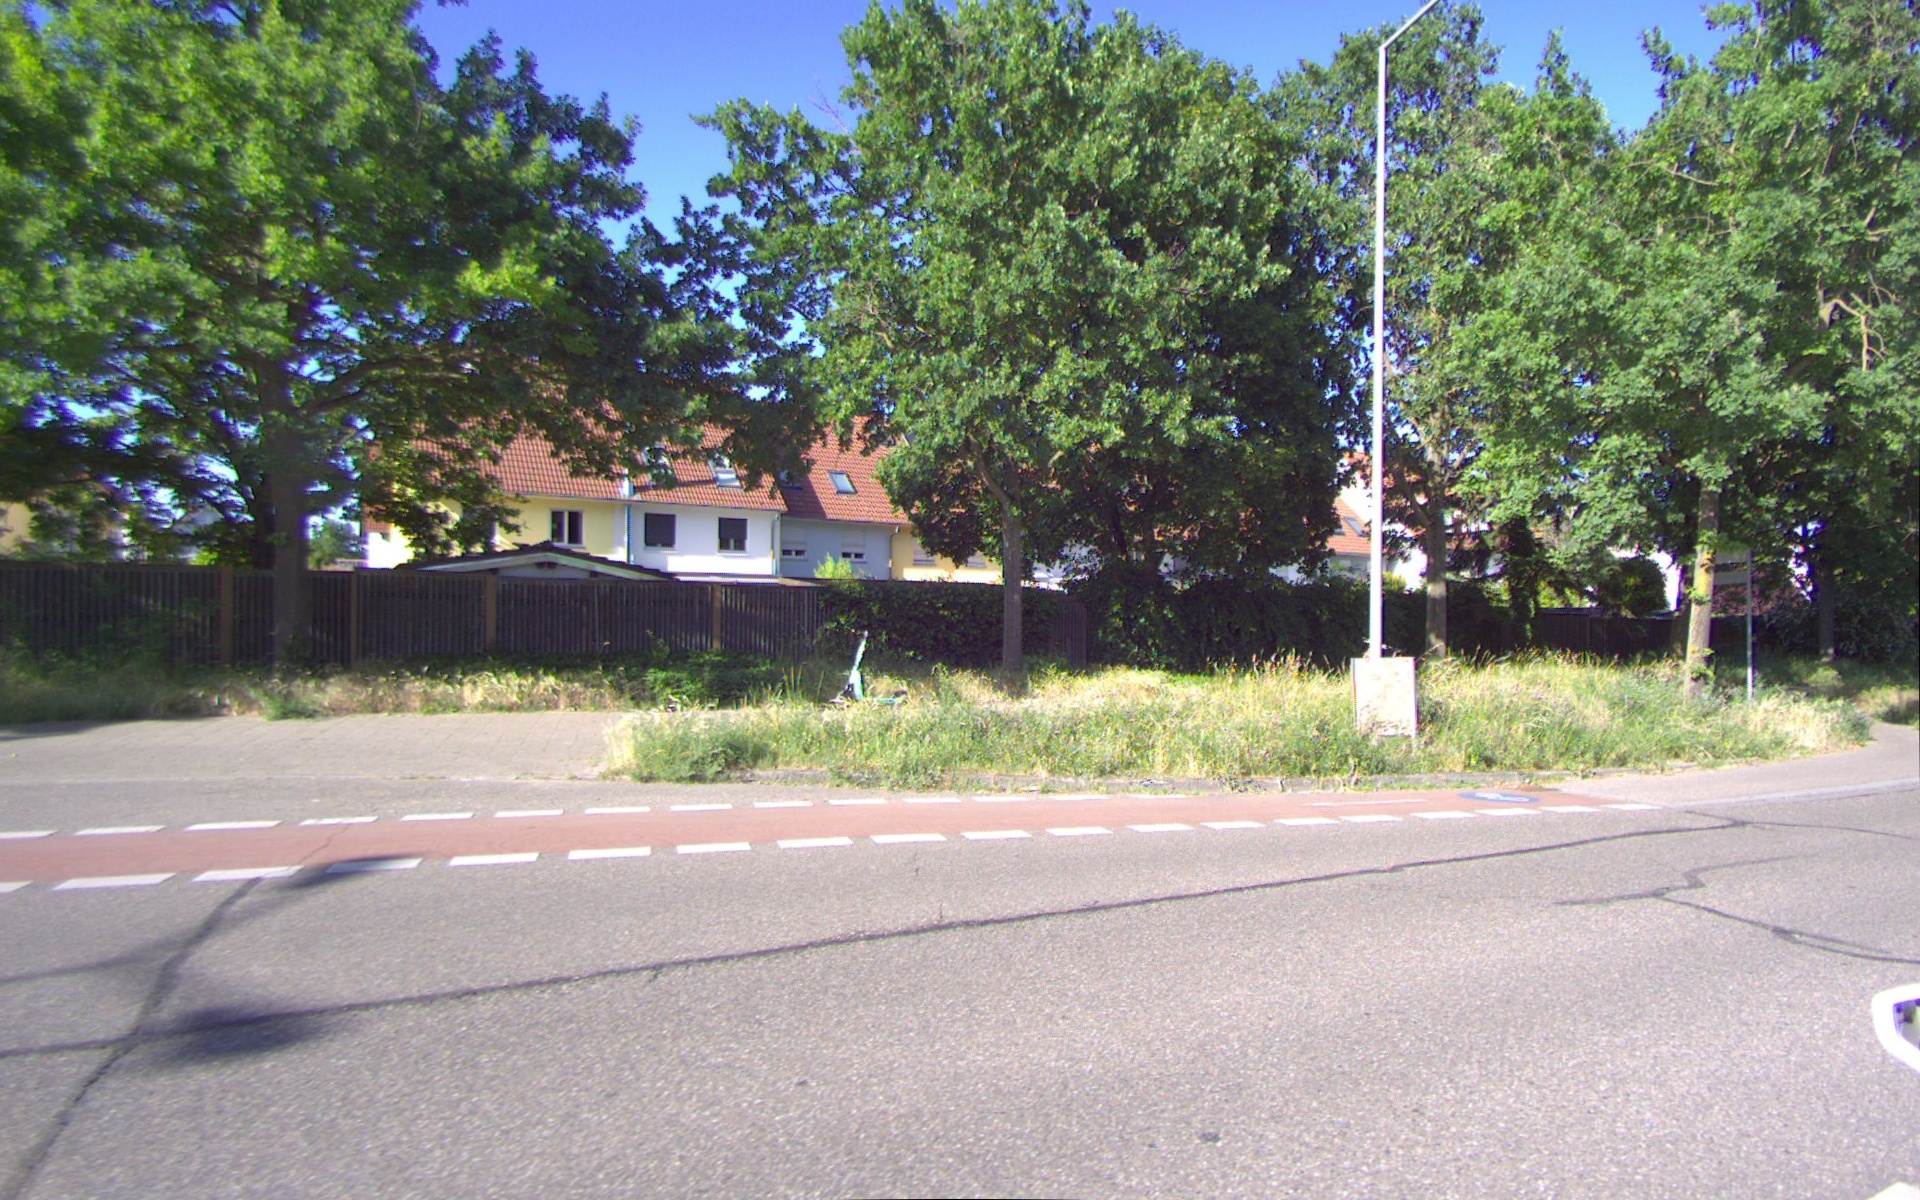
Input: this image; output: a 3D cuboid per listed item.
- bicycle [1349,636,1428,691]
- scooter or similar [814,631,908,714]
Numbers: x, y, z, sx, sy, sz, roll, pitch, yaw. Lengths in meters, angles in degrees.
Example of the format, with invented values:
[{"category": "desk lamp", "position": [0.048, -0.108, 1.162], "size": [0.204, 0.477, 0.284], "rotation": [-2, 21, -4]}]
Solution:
[{"category": "bicycle", "position": [8.785, 1.293, 20.571], "size": [1.858, 1.067, 0.503], "rotation": [2, -1, -31]}, {"category": "scooter or similar", "position": [-1.553, 1.118, 15.695], "size": [1.390, 1.235, 0.539], "rotation": [0, 1, -15]}]
